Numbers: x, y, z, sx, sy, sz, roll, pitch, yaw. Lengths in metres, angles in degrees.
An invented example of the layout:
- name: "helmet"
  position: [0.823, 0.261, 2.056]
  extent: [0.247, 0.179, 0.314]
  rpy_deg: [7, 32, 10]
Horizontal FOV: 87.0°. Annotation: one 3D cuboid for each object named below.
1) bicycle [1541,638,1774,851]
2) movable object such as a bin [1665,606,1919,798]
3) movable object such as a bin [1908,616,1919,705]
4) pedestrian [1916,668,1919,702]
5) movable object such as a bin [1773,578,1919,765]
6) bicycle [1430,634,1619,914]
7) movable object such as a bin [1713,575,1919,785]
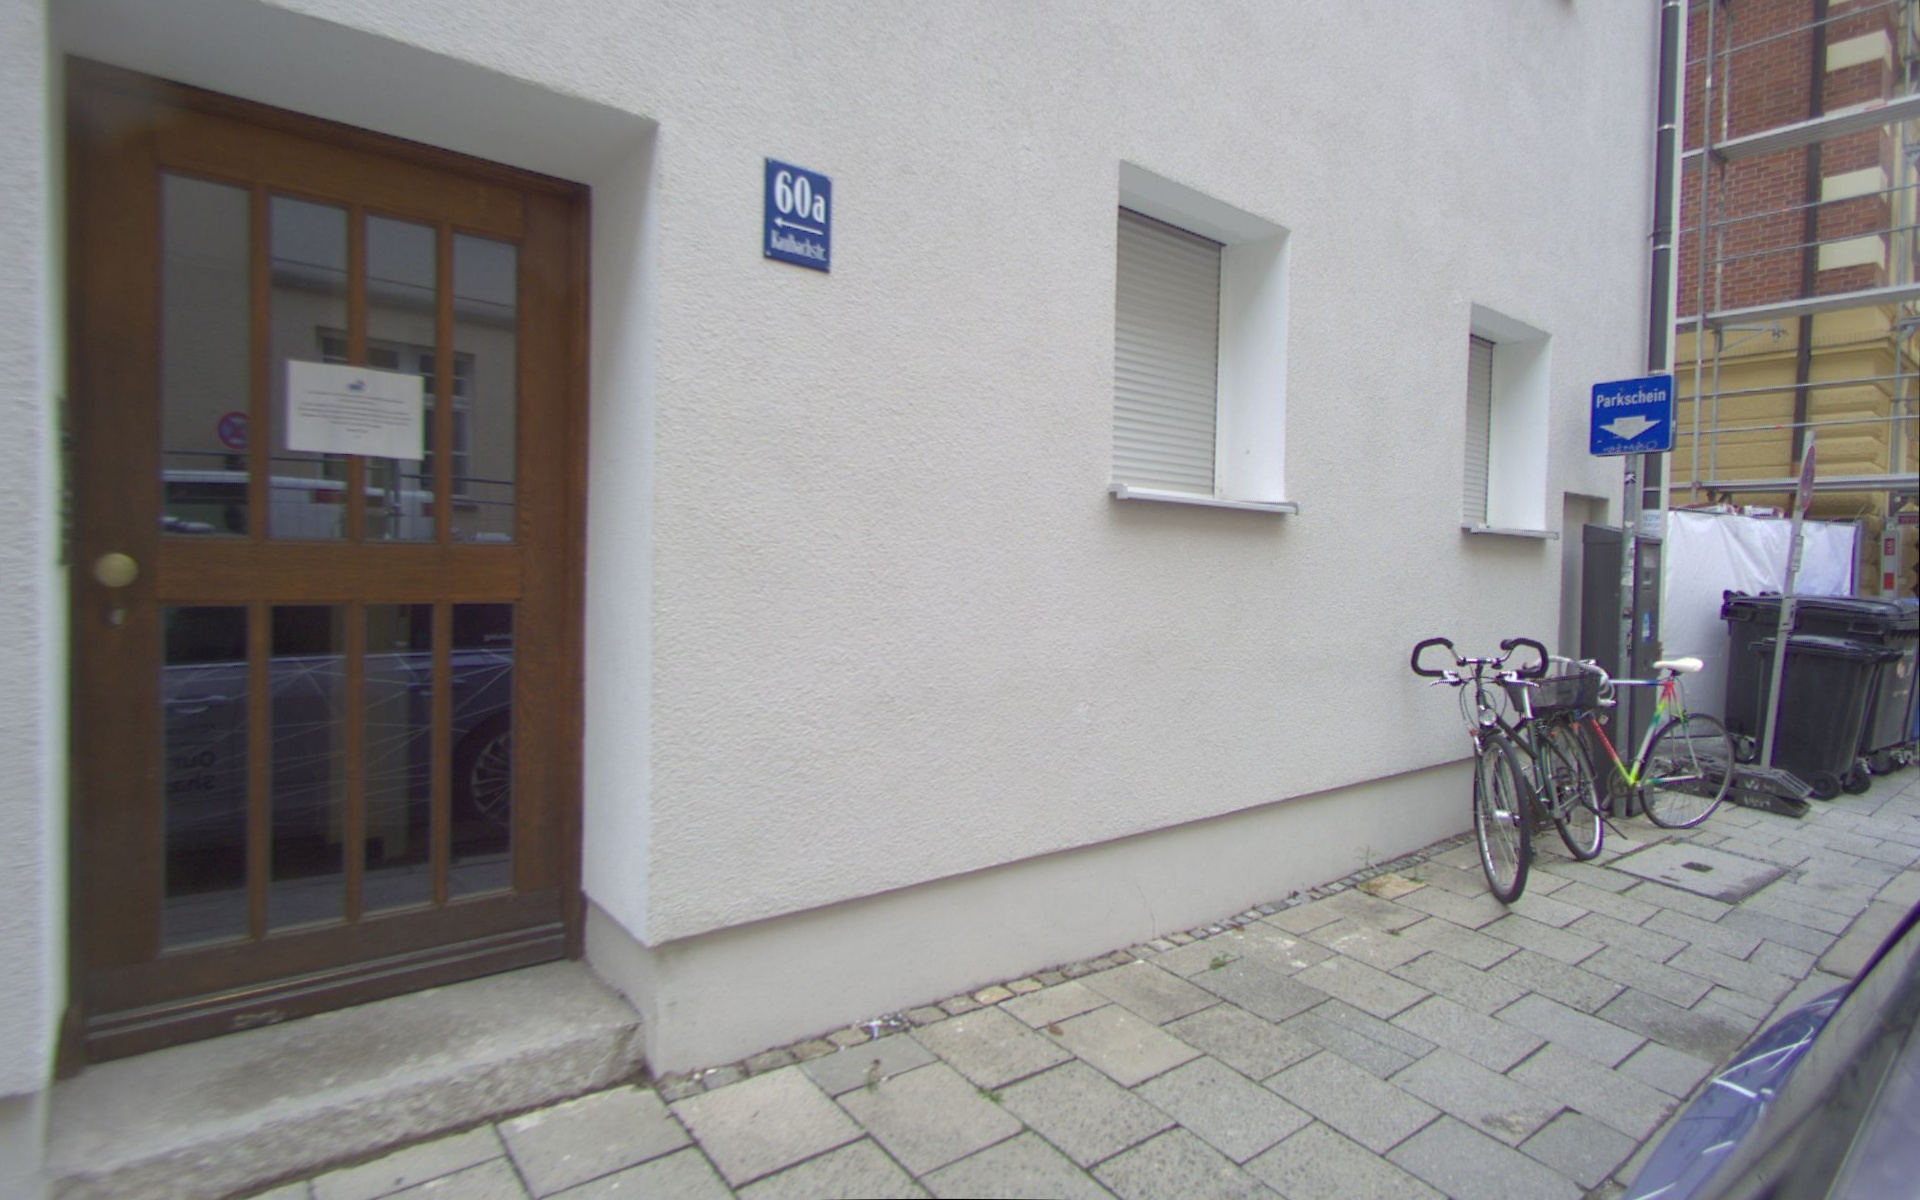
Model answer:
- name: "bicycle"
  position: [3.701, 0.720, 5.343]
  extent: [1.404, 1.003, 0.282]
  rpy_deg: [1, 5, -26]
- name: "movable object such as a bin"
  position: [5.936, 0.661, 7.202]
  extent: [0.774, 1.108, 1.217]
  rpy_deg: [1, 5, -31]
- name: "movable object such as a bin"
  position: [11.101, 0.606, 11.162]
  extent: [0.971, 1.154, 0.731]
  rpy_deg: [0, 6, -40]
- name: "pedestrian"
  position: [11.604, 0.314, 11.564]
  extent: [0.970, 1.773, 0.731]
  rpy_deg: [0, 6, -40]
- name: "movable object such as a bin"
  position: [7.776, 0.555, 8.378]
  extent: [1.290, 1.362, 1.092]
  rpy_deg: [1, 4, -27]
- name: "bicycle"
  position: [2.600, 0.710, 4.612]
  extent: [0.404, 1.003, 1.309]
  rpy_deg: [7, 6, 41]
- name: "movable object such as a bin"
  position: [6.739, 0.544, 7.730]
  extent: [1.148, 1.361, 1.132]
  rpy_deg: [1, 5, -31]
